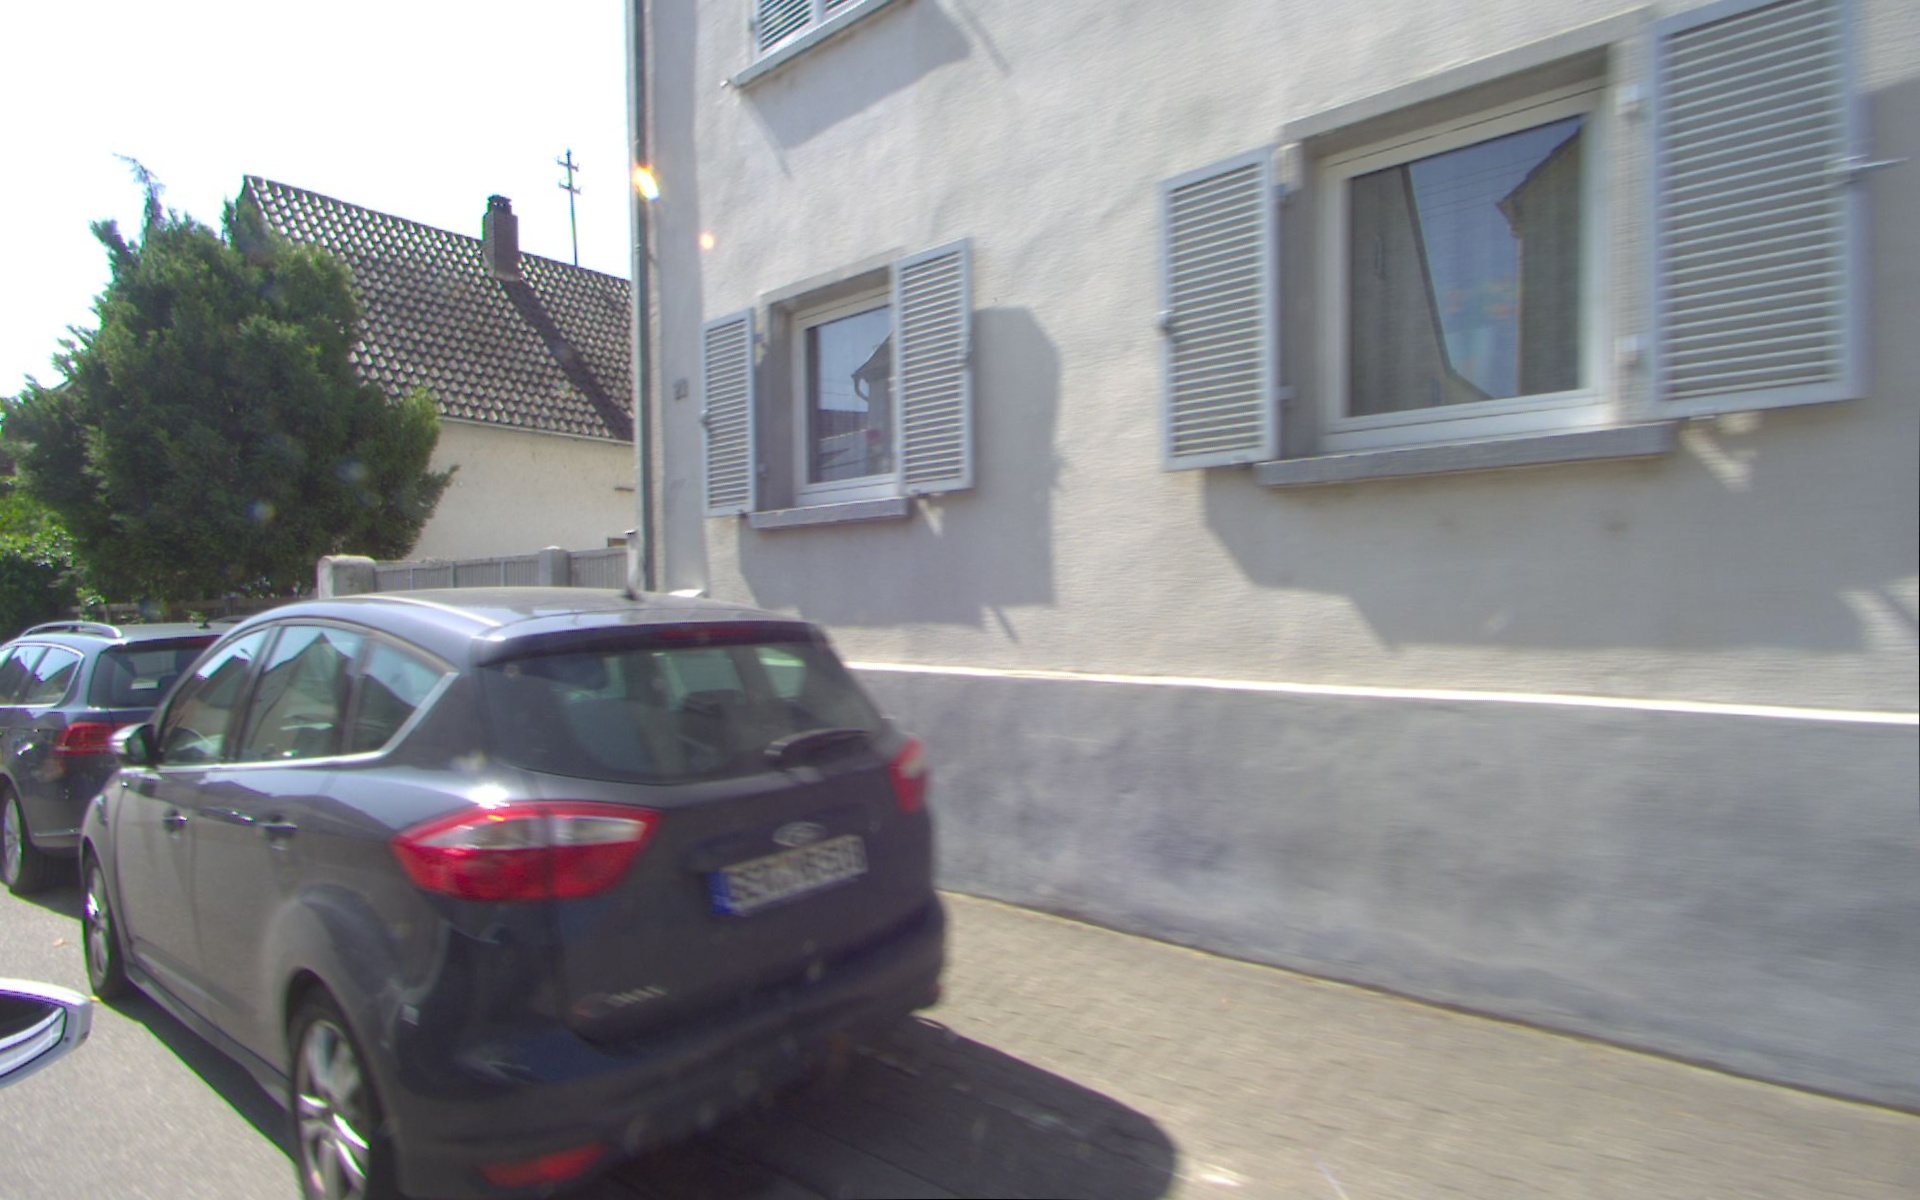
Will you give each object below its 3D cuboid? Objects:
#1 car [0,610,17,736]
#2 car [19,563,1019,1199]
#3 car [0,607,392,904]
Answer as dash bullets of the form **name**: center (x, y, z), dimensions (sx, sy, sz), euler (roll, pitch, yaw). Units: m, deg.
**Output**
- **car**: center (-14.796, 0.987, 14.070), dimensions (4.309, 1.653, 1.785), euler (0, 1, 41)
- **car**: center (-2.136, 0.756, 3.981), dimensions (4.576, 1.581, 1.789), euler (-1, 0, 40)
- **car**: center (-6.105, 0.847, 7.318), dimensions (4.524, 1.528, 1.812), euler (-1, 0, 38)
